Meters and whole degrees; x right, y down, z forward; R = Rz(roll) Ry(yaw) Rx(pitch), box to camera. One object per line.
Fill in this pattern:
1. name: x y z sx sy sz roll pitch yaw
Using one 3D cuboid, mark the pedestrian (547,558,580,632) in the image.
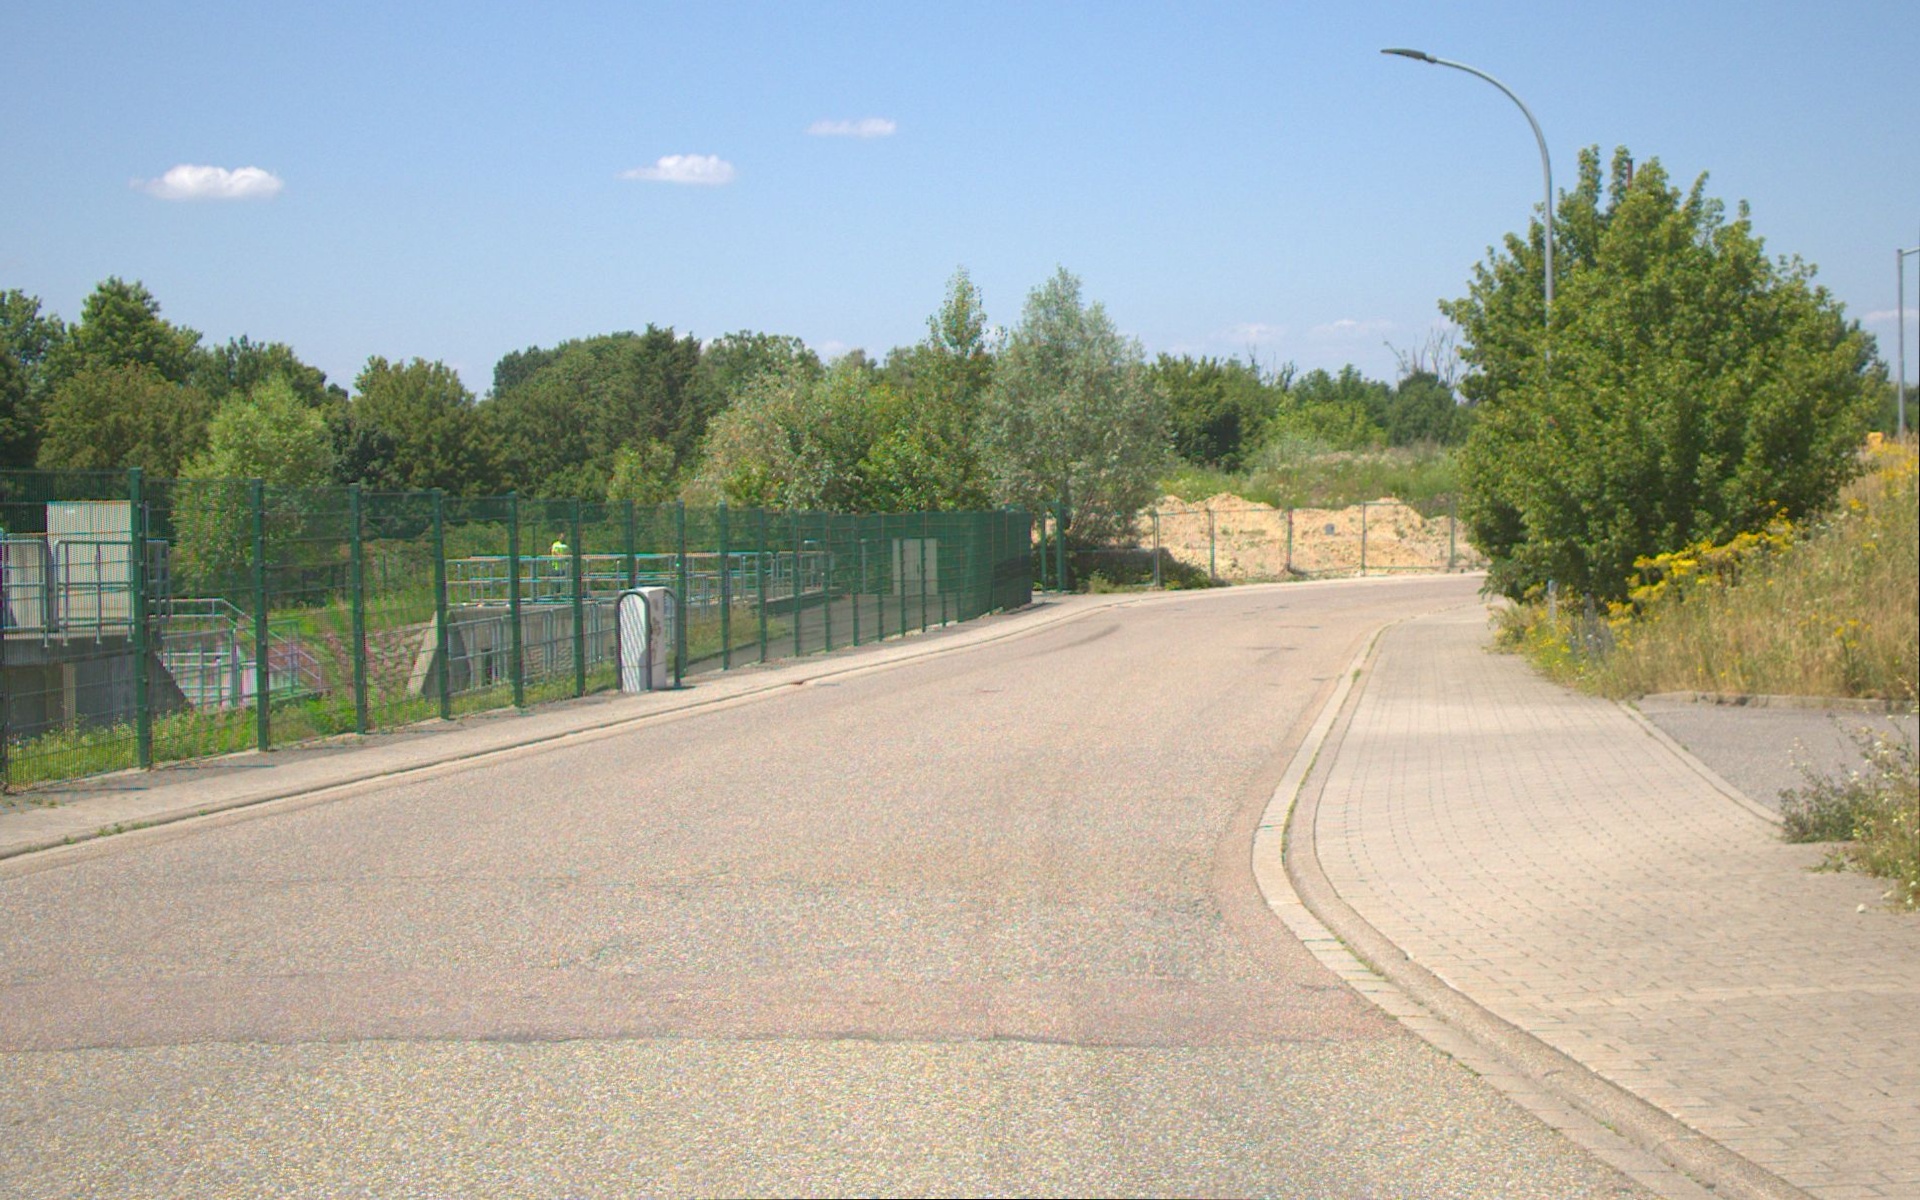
1. pedestrian: -9.979 -0.136 86.568 0.606 1.833 0.805 -2 1 6
